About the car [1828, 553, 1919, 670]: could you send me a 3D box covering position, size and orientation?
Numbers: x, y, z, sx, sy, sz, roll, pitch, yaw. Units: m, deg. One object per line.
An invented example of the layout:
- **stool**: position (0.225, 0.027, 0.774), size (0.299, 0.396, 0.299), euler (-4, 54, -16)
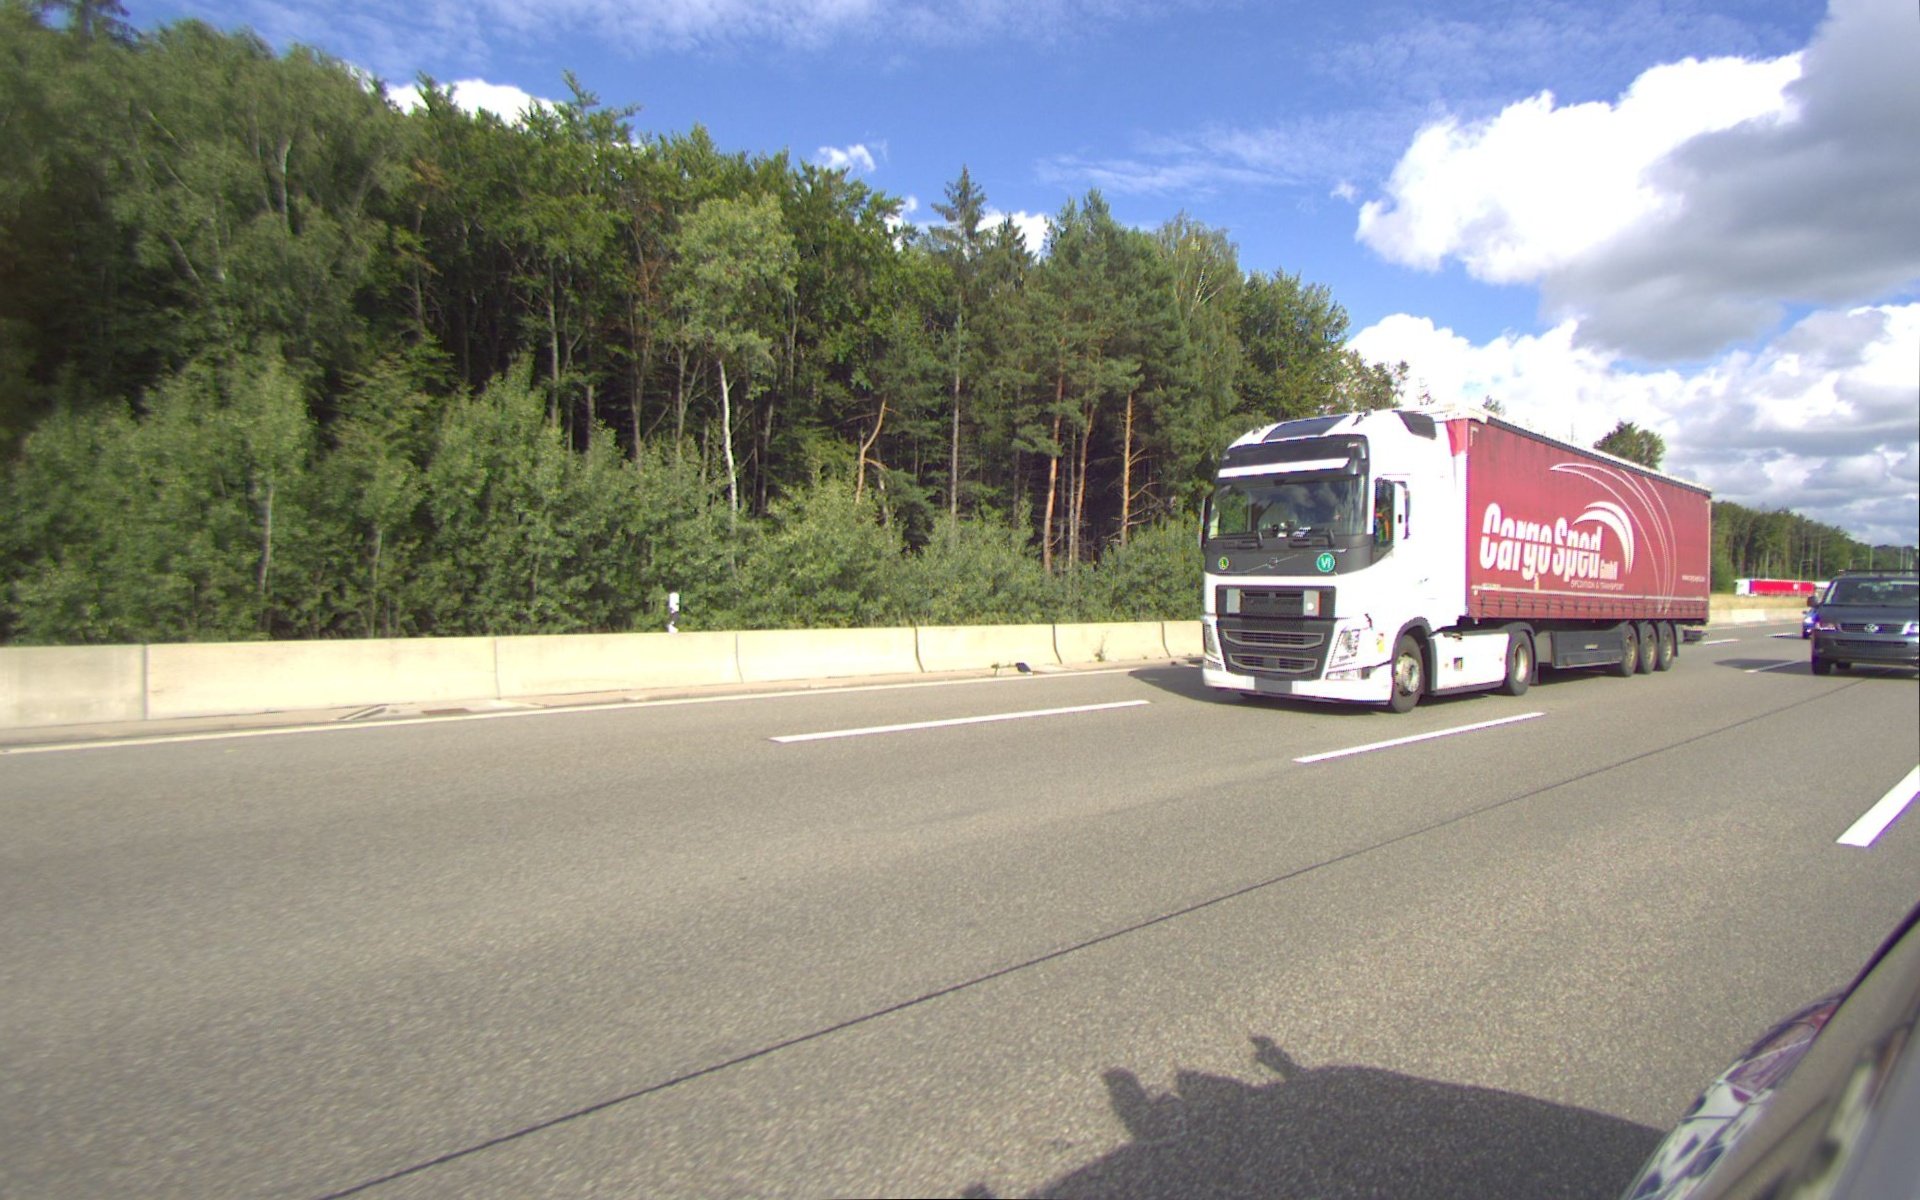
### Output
- **car**: position (19.103, 0.204, 20.431), size (4.848, 2.136, 1.851), euler (0, 0, -42)

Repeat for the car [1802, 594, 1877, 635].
- **car**: position (33.508, 0.519, 38.538), size (3.931, 1.460, 1.652), euler (0, 1, -42)

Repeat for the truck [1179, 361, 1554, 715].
- **truck**: position (6.029, -0.738, 14.622), size (5.673, 4.096, 2.778), euler (0, 0, -41)

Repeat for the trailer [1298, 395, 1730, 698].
- **trailer**: position (11.242, -0.747, 19.206), size (13.475, 4.096, 2.778), euler (0, 0, -41)
